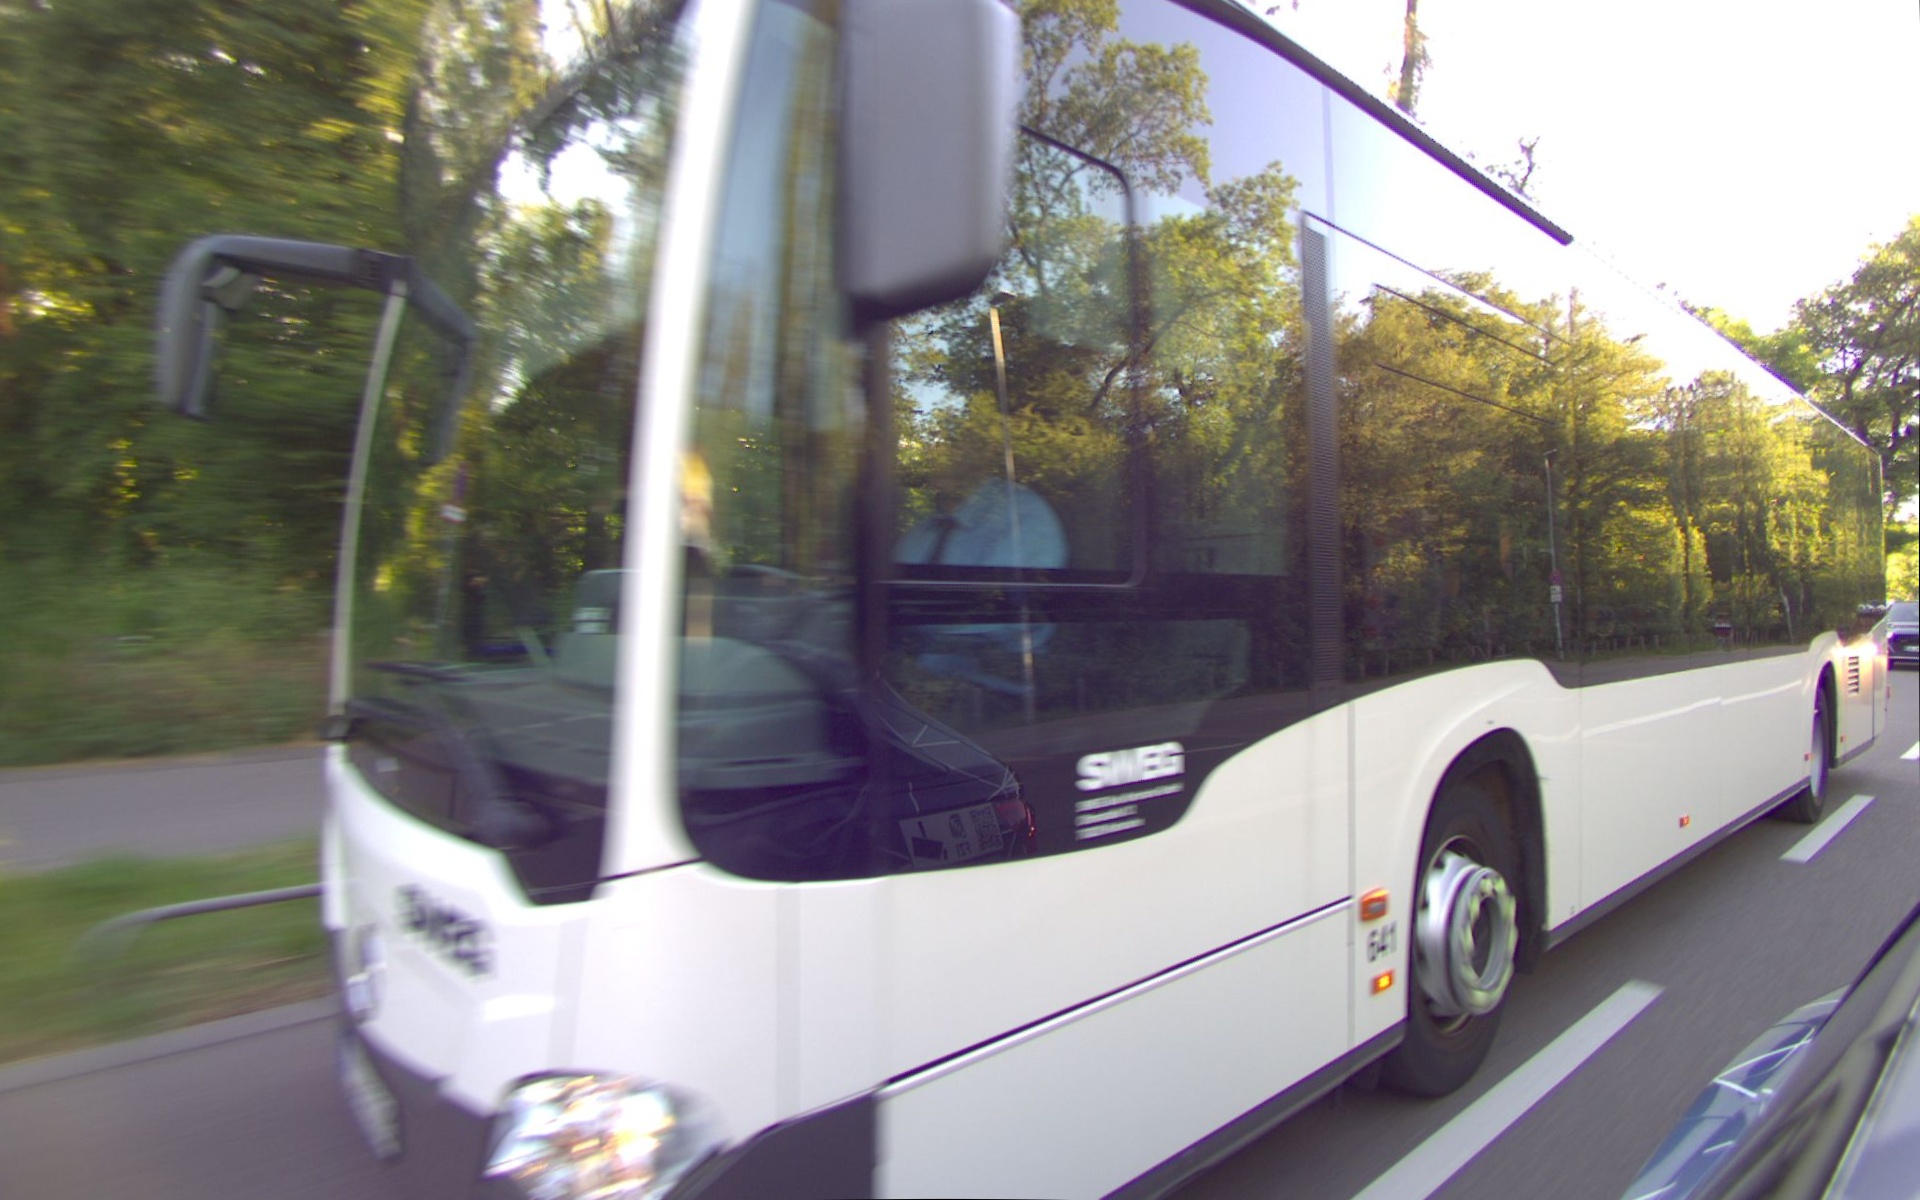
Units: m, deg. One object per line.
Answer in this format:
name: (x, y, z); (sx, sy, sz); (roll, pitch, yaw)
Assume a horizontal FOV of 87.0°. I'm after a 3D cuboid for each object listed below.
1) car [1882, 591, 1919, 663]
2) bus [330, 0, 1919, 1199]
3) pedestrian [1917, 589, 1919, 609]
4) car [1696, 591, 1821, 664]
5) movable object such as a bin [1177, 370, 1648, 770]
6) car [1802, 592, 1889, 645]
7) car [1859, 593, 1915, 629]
car: (23.498, 0.613, 24.267); (3.934, 1.638, 1.858); (0, 0, -44)
bus: (3.364, -0.233, 6.254); (12.065, 3.262, 2.709); (0, 2, -41)
pedestrian: (88.959, -0.082, 93.506); (0.508, 1.778, 0.728); (3, 2, 29)
car: (19.690, 0.598, 24.889); (4.386, 1.594, 1.840); (-1, 2, -44)
movable object such as a bin: (5.885, -0.312, 12.295); (2.760, 3.412, 7.478); (2, 2, 44)
car: (30.335, 0.570, 34.623); (1.995, 1.576, 4.034); (5, 4, 44)
car: (43.957, 0.472, 47.950); (1.729, 1.529, 4.103); (5, 4, 45)
